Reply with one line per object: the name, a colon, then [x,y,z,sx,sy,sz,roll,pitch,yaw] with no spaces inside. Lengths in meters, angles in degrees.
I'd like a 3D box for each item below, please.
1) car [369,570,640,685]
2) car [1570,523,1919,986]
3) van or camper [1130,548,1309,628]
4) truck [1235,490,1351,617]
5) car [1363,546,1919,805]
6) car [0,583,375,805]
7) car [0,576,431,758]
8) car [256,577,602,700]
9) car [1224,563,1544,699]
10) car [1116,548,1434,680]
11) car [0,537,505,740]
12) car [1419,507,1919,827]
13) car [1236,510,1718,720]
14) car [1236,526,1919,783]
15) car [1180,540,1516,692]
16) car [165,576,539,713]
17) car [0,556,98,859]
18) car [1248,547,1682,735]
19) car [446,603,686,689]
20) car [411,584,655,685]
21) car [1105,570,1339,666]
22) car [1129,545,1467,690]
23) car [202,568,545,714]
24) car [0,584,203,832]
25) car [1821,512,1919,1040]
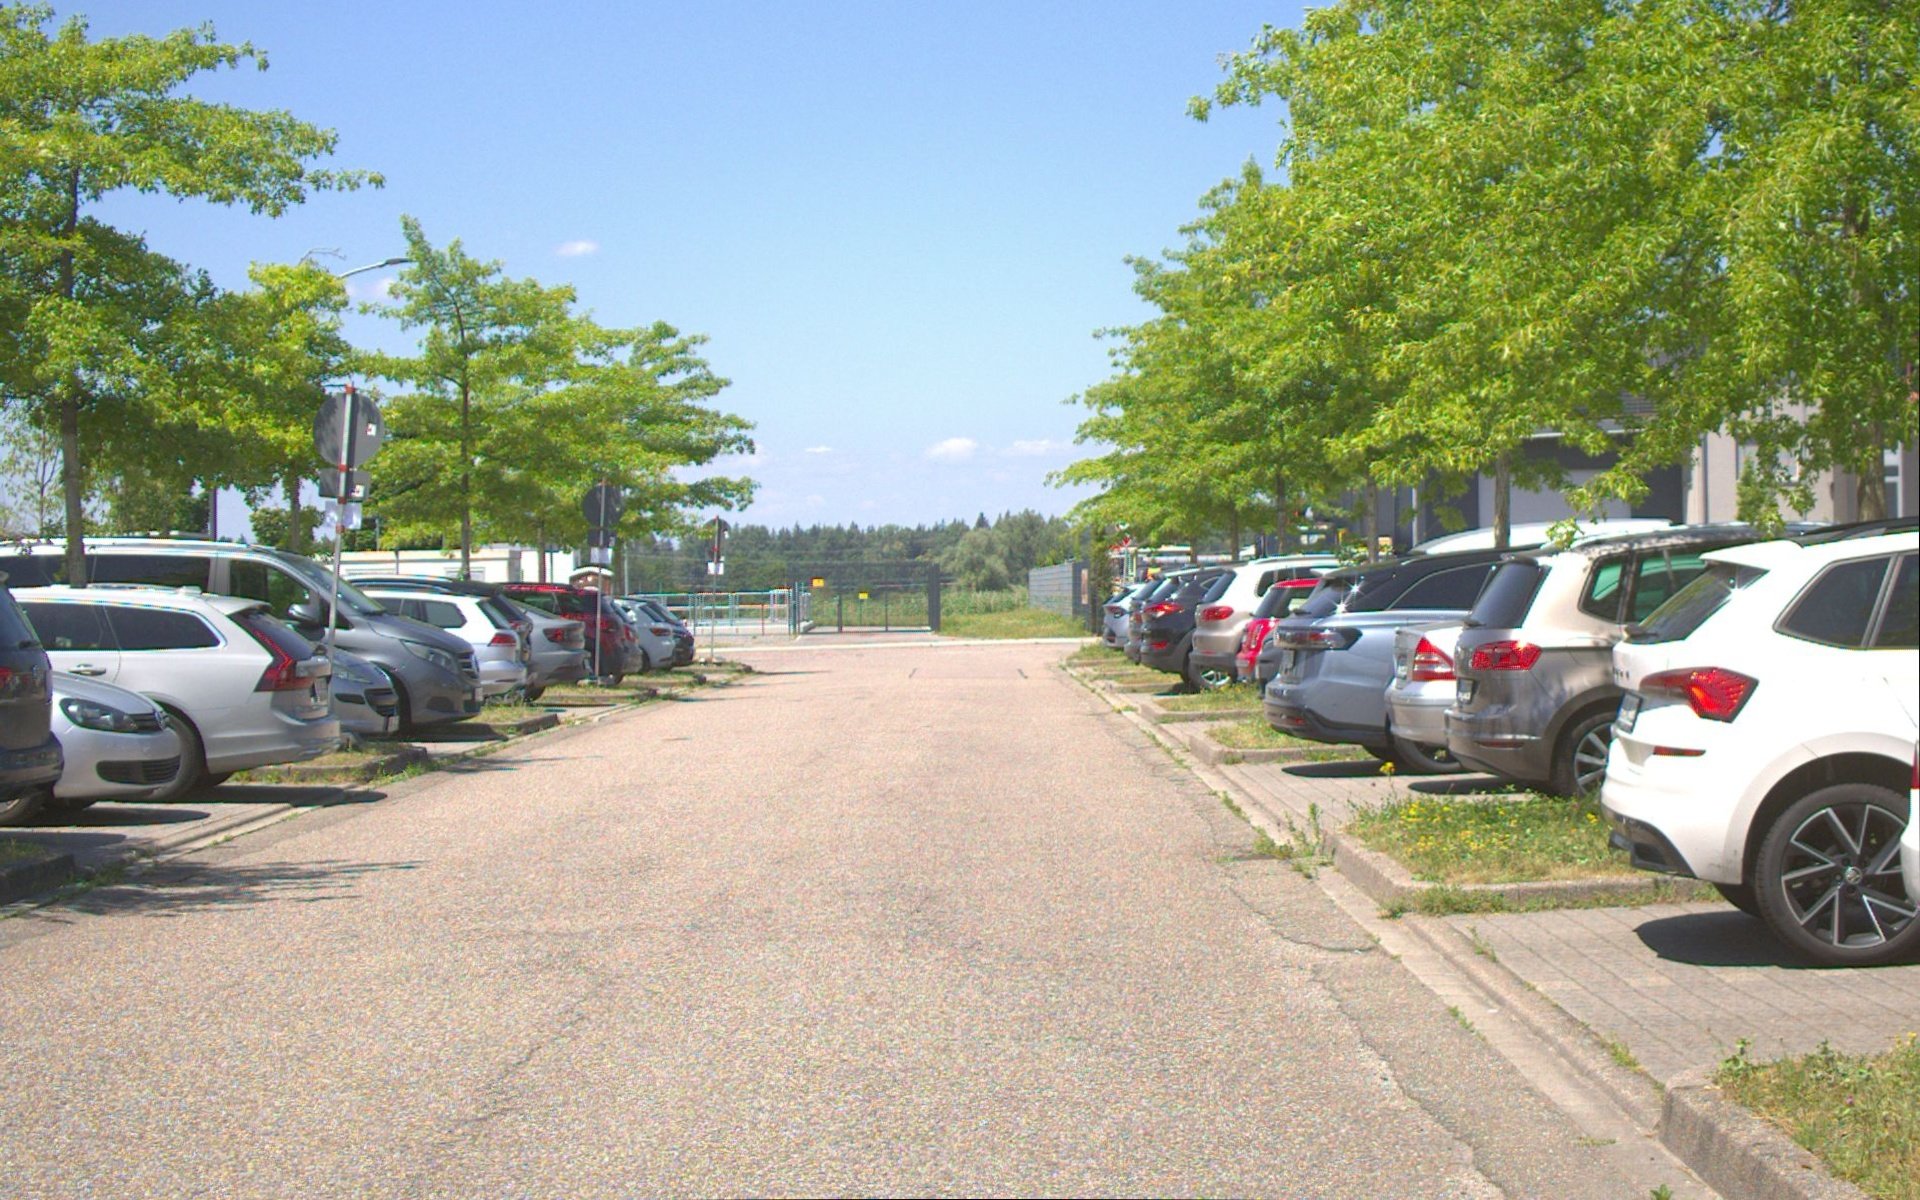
car: [-6.735,0.399,51.102,3.737,1.616,1.816,1,0,1]
car: [4.235,0.477,12.432,3.835,1.548,1.779,-2,1,6]
van or camper: [7.449,-0.356,98.962,4.936,2.156,2.000,-1,1,0]
truck: [10.659,-1.463,110.647,2.921,3.916,6.936,-1,0,-1]
car: [4.702,0.439,21.837,4.047,1.448,1.645,-2,0,1]
car: [-6.582,0.611,24.023,4.712,1.442,1.858,1,0,-3]
car: [-6.874,0.574,30.743,3.969,1.479,1.764,1,0,1]
car: [-6.874,0.494,44.743,4.193,1.475,1.712,1,0,1]
car: [4.898,0.348,40.071,3.457,1.412,1.754,-2,0,0]
car: [4.655,0.198,51.316,4.449,1.762,1.993,-2,0,-2]
car: [-7.160,0.357,33.725,5.070,1.885,1.997,1,0,2]
car: [4.740,0.324,19.342,4.047,1.619,1.693,-2,0,1]
car: [4.991,0.144,33.645,4.403,1.824,1.795,-2,0,1]
car: [4.467,0.358,24.408,4.715,1.555,1.914,-2,0,-3]
car: [4.730,0.190,42.297,3.875,1.672,1.782,-2,0,1]
car: [-6.969,0.503,39.675,4.037,1.456,1.604,1,0,-2]
car: [-7.143,0.539,19.392,4.117,1.629,1.727,1,0,0]
car: [4.499,0.362,31.020,3.631,1.498,1.676,-2,0,1]
car: [-6.917,0.798,60.607,4.075,1.419,1.874,1,0,-3]
car: [-6.636,0.525,53.716,3.656,1.503,1.731,1,0,-3]
car: [4.967,0.343,65.645,4.279,1.638,1.851,-2,0,1]
car: [4.382,0.223,45.008,4.173,1.690,1.782,-2,0,0]
car: [-7.183,0.493,42.398,3.986,1.673,1.777,1,0,-4]
car: [-7.098,0.624,21.601,4.310,1.468,1.728,1,0,-2]
car: [4.663,0.457,10.006,3.834,1.519,1.779,-2,0,0]
